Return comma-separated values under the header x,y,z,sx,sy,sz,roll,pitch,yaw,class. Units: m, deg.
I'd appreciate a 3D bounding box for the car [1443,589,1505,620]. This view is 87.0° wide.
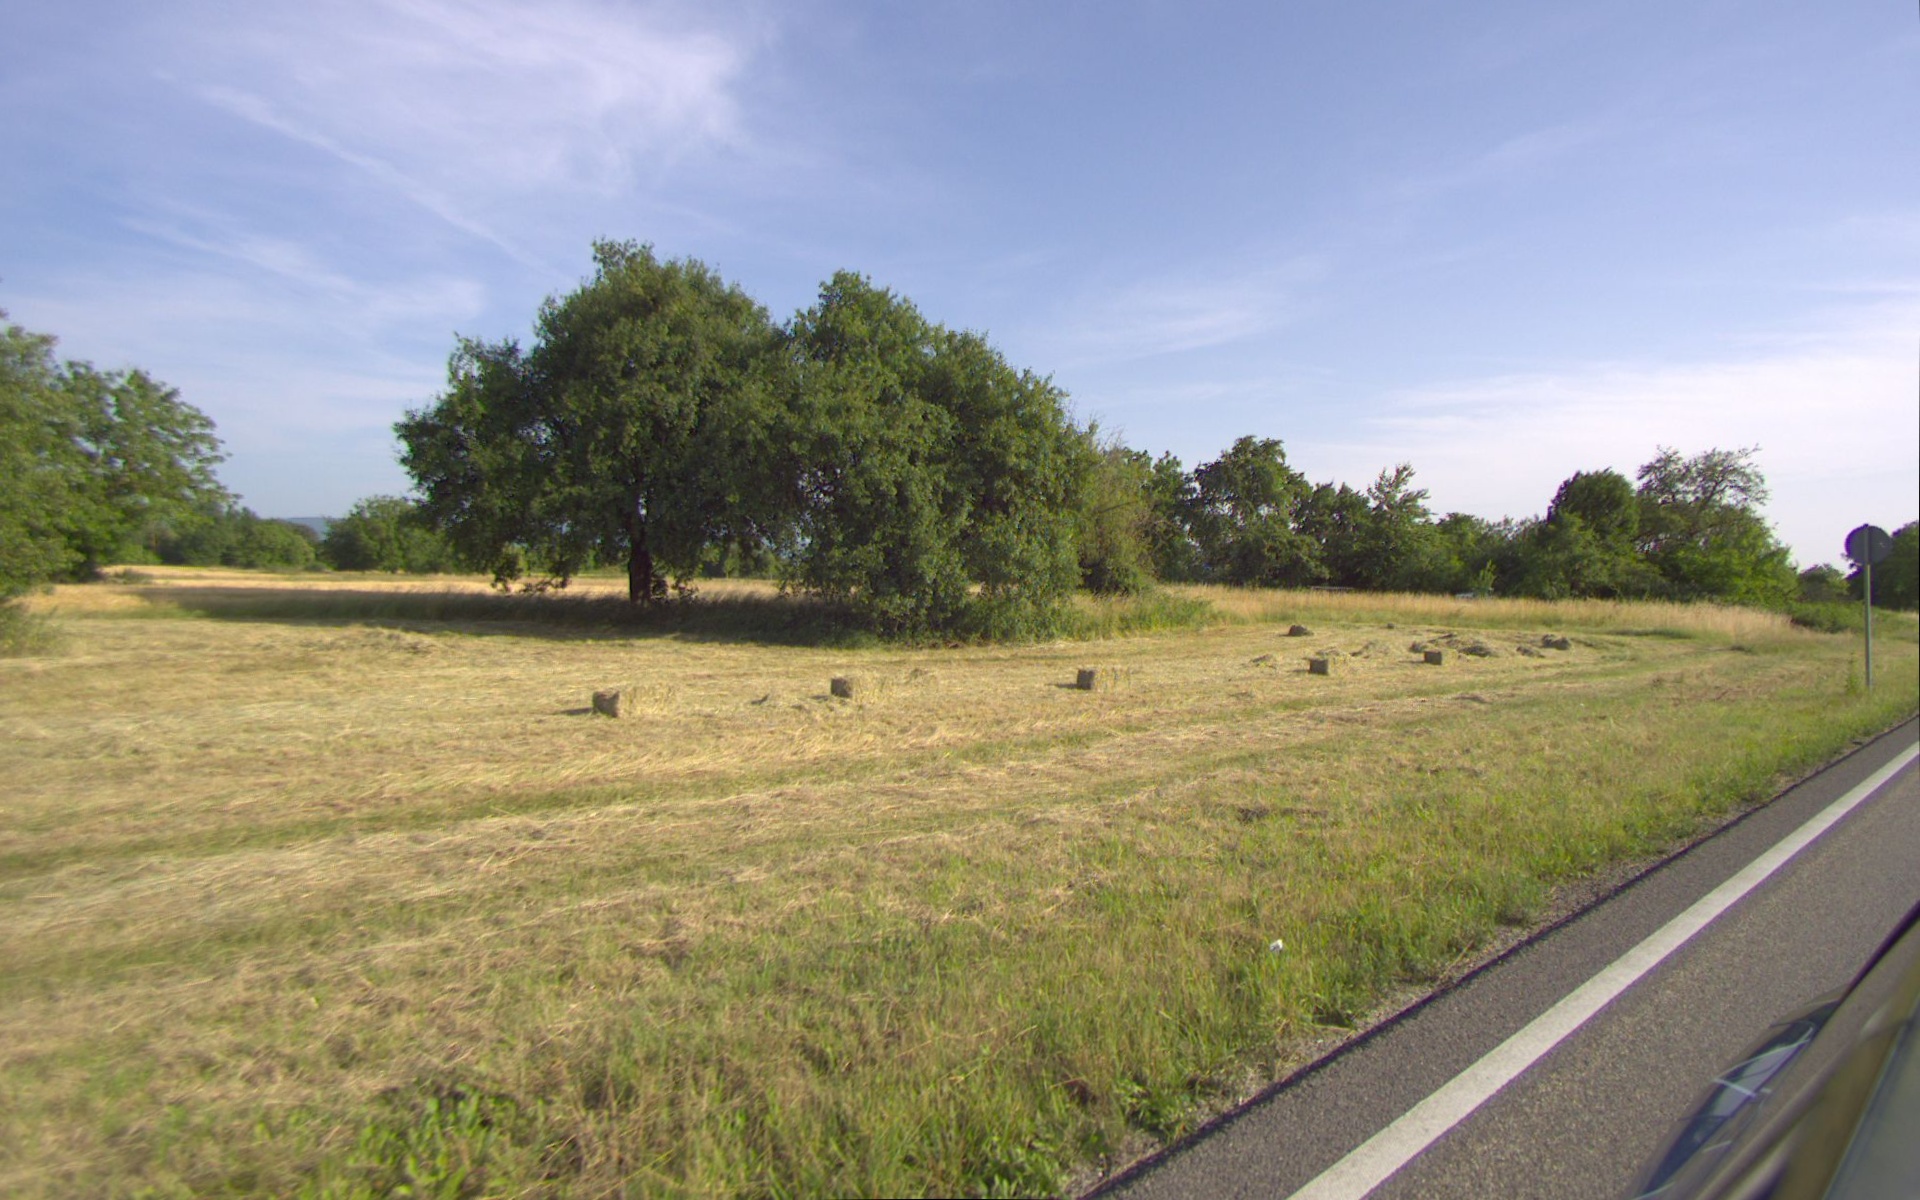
x,y,z,sx,sy,sz,roll,pitch,yaw,class
30.407,0.226,59.851,3.931,1.772,1.997,0,0,-41,car
